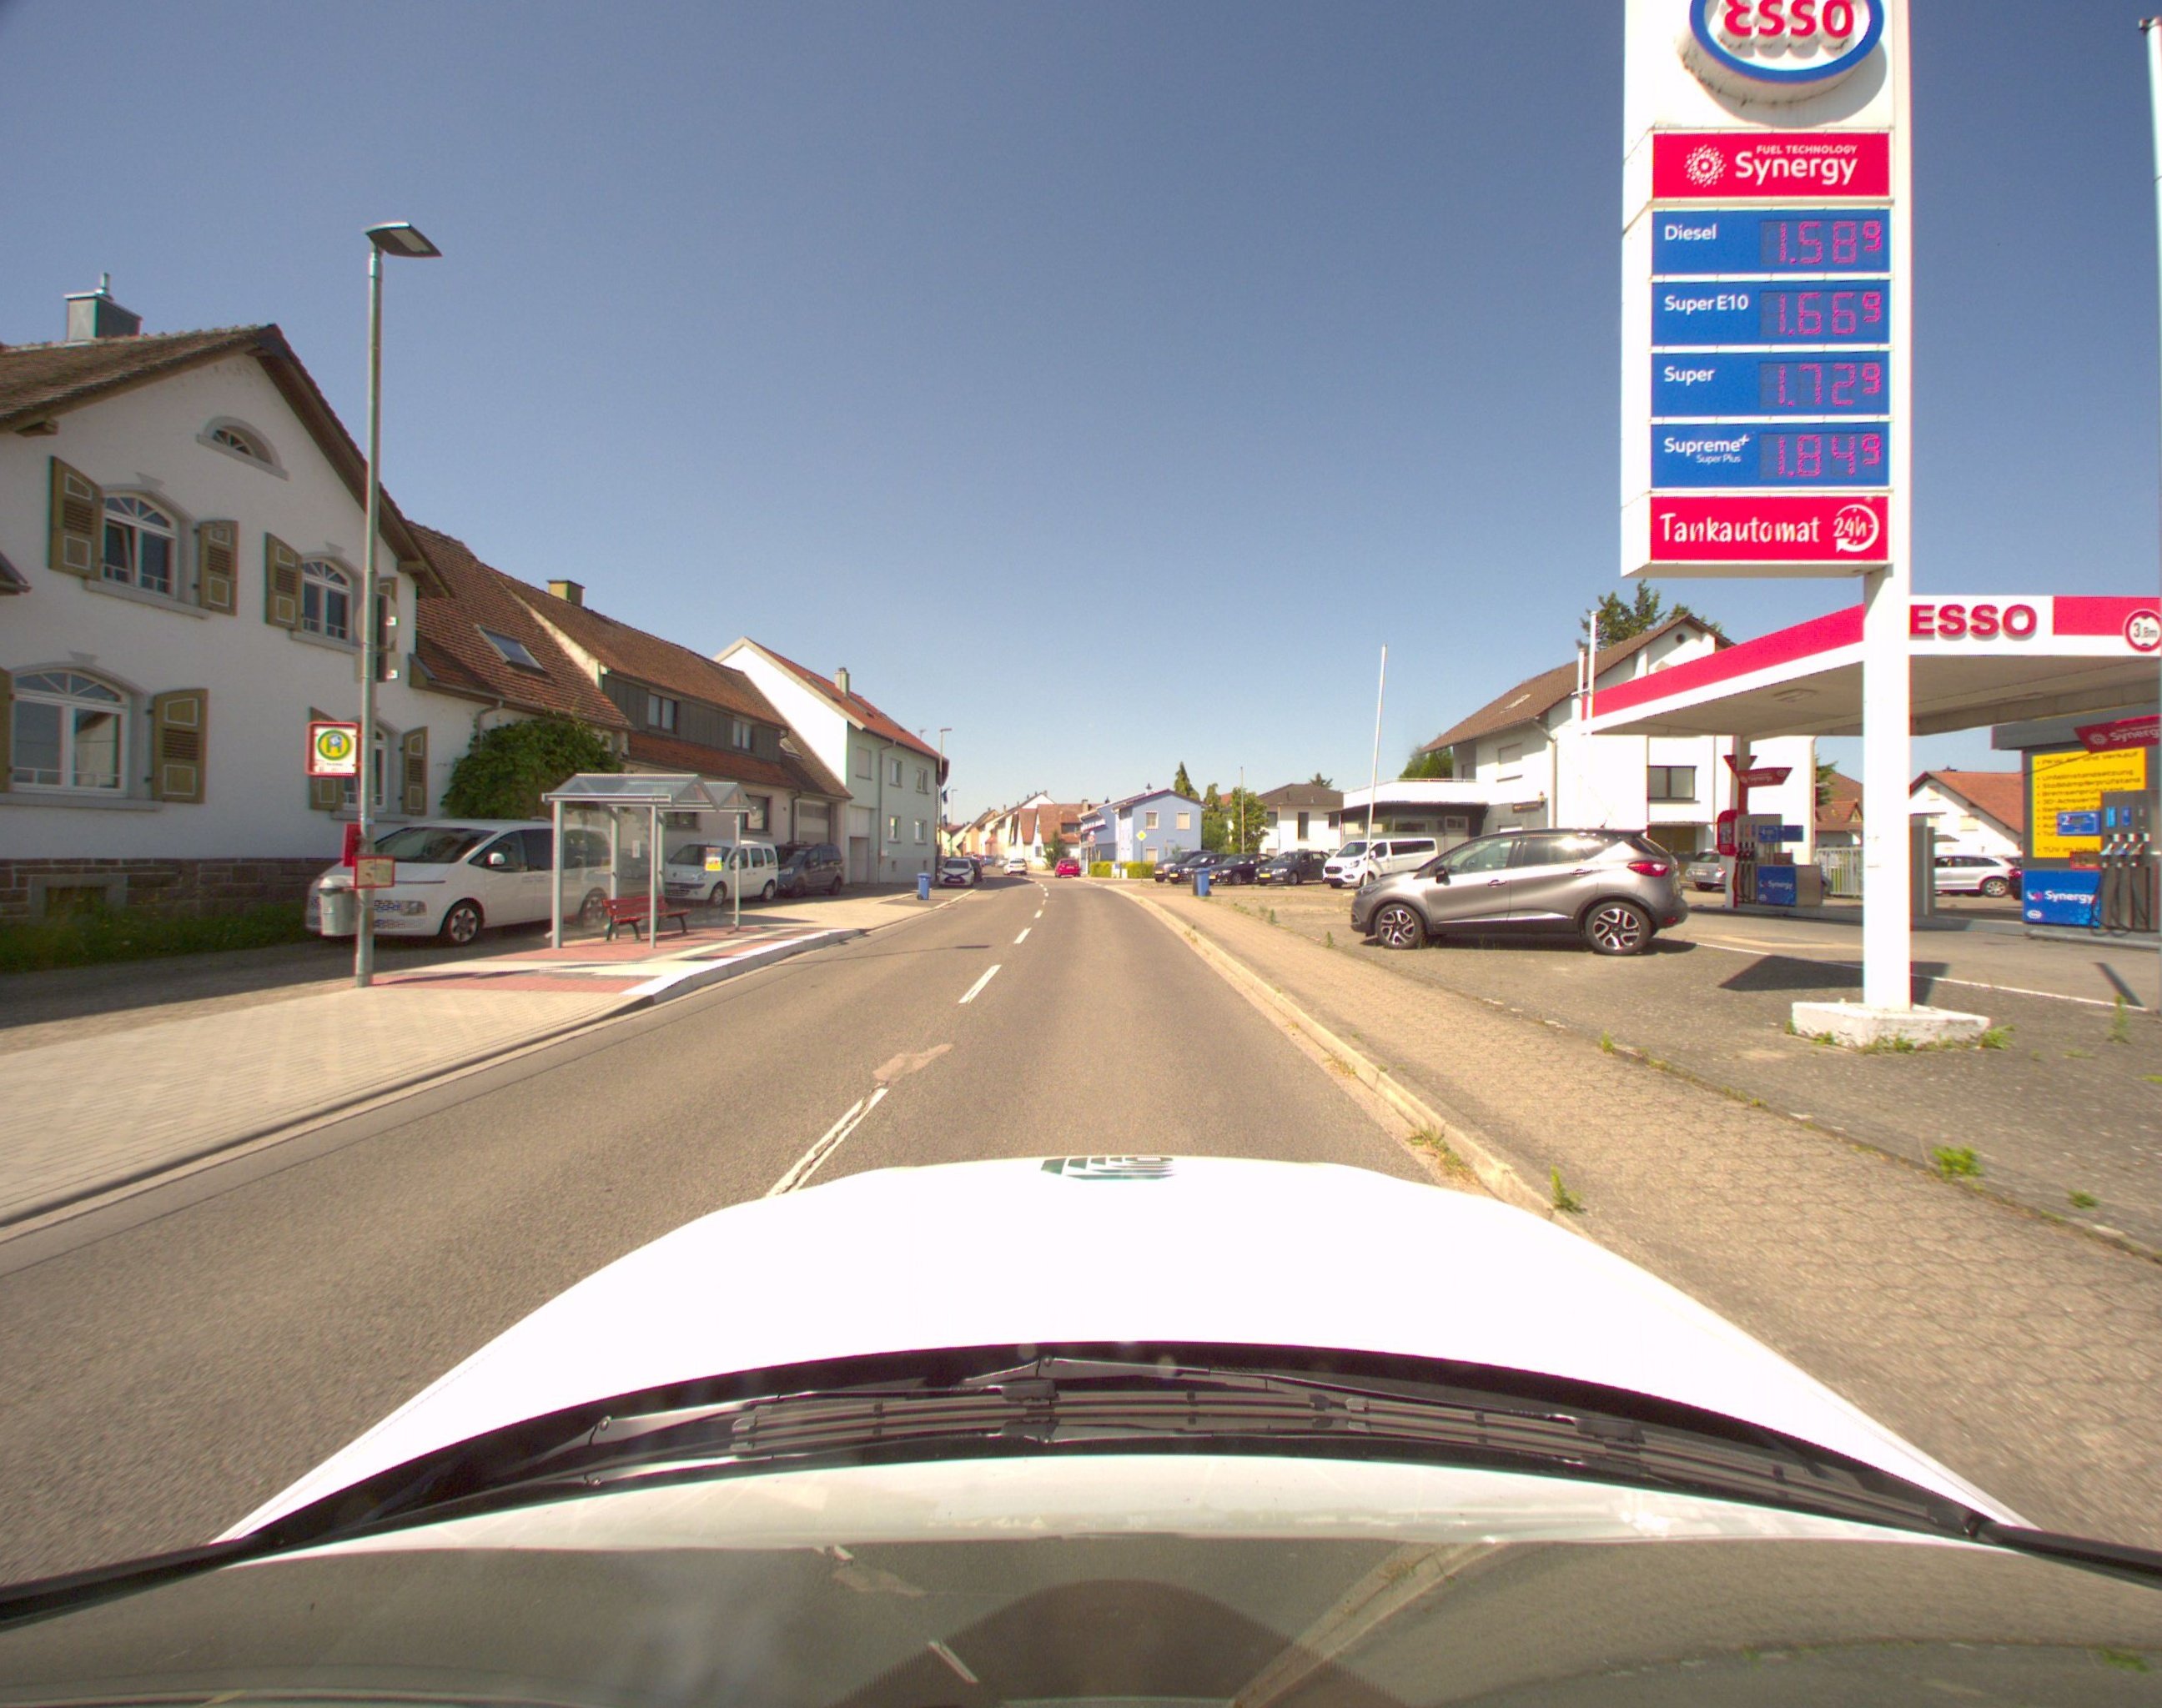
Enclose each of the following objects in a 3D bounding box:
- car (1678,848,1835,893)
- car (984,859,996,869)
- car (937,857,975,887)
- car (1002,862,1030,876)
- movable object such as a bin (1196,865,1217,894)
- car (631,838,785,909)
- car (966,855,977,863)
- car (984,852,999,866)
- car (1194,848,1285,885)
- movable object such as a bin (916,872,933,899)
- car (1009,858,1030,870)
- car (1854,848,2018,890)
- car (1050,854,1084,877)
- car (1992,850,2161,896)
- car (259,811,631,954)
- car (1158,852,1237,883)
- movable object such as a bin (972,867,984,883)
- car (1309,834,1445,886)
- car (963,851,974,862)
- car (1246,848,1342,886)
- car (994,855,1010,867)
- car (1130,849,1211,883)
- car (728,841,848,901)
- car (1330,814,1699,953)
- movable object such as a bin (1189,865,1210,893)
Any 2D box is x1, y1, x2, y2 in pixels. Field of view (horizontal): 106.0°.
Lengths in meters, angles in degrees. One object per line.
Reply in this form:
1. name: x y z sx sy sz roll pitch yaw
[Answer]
1. car: 23.419 0.555 28.322 4.052 1.480 1.810 0 -1 -3
2. car: -14.081 1.585 126.296 1.422 1.515 3.288 1 -1 -14
3. car: -6.356 0.904 41.790 1.681 1.462 3.642 0 -1 -5
4. car: -6.089 1.375 75.805 1.996 1.288 3.982 0 -1 -13
5. movable object such as a bin: 4.171 0.848 27.166 0.557 0.939 0.513 -1 0 -9
6. car: -10.245 0.523 22.781 1.958 1.774 4.284 0 -1 6
7. car: -20.490 0.926 152.033 1.768 1.433 3.435 0 -1 -12
8. car: -12.639 0.757 115.397 1.651 1.910 3.608 1 -1 -14
9. car: 7.332 0.546 37.407 4.263 1.566 1.960 -1 0 -43
10. movable object such as a bin: -5.611 1.135 29.281 0.557 0.936 0.513 2 -1 -9
11. car: -7.146 1.149 94.381 1.707 1.433 3.871 1 -1 -14
12. car: 33.145 0.563 31.720 4.024 1.480 1.822 2 -1 25
13. car: -1.137 0.848 63.236 1.734 1.494 4.336 -2 3 -13
14. car: 33.305 0.615 27.316 3.611 1.376 1.810 2 -1 -3
15. car: -10.367 0.436 14.044 2.118 1.986 5.267 0 -1 2
16. car: 5.697 0.631 39.614 3.895 1.447 1.730 -1 0 -43
17. movable object such as a bin: -6.426 1.317 50.832 0.552 0.928 0.822 4 -1 -13
18. car: 12.277 0.215 33.718 5.295 2.013 2.213 -1 0 -26
19. car: -21.633 0.485 156.938 1.768 2.004 3.435 0 -1 -12
20. car: 9.364 0.528 35.632 4.340 1.550 1.961 -1 0 -41
21. car: -10.734 0.970 110.842 1.707 1.497 3.436 1 -1 -14
22. car: 4.693 0.595 42.311 4.134 1.653 1.810 -1 0 -39
23. car: -9.709 0.532 27.398 1.826 1.793 4.354 2 0 9
24. car: 5.768 0.410 11.078 4.128 1.555 1.786 -3 -2 38
25. movable object such as a bin: 4.029 0.854 27.695 0.557 0.936 0.513 -1 0 -9
